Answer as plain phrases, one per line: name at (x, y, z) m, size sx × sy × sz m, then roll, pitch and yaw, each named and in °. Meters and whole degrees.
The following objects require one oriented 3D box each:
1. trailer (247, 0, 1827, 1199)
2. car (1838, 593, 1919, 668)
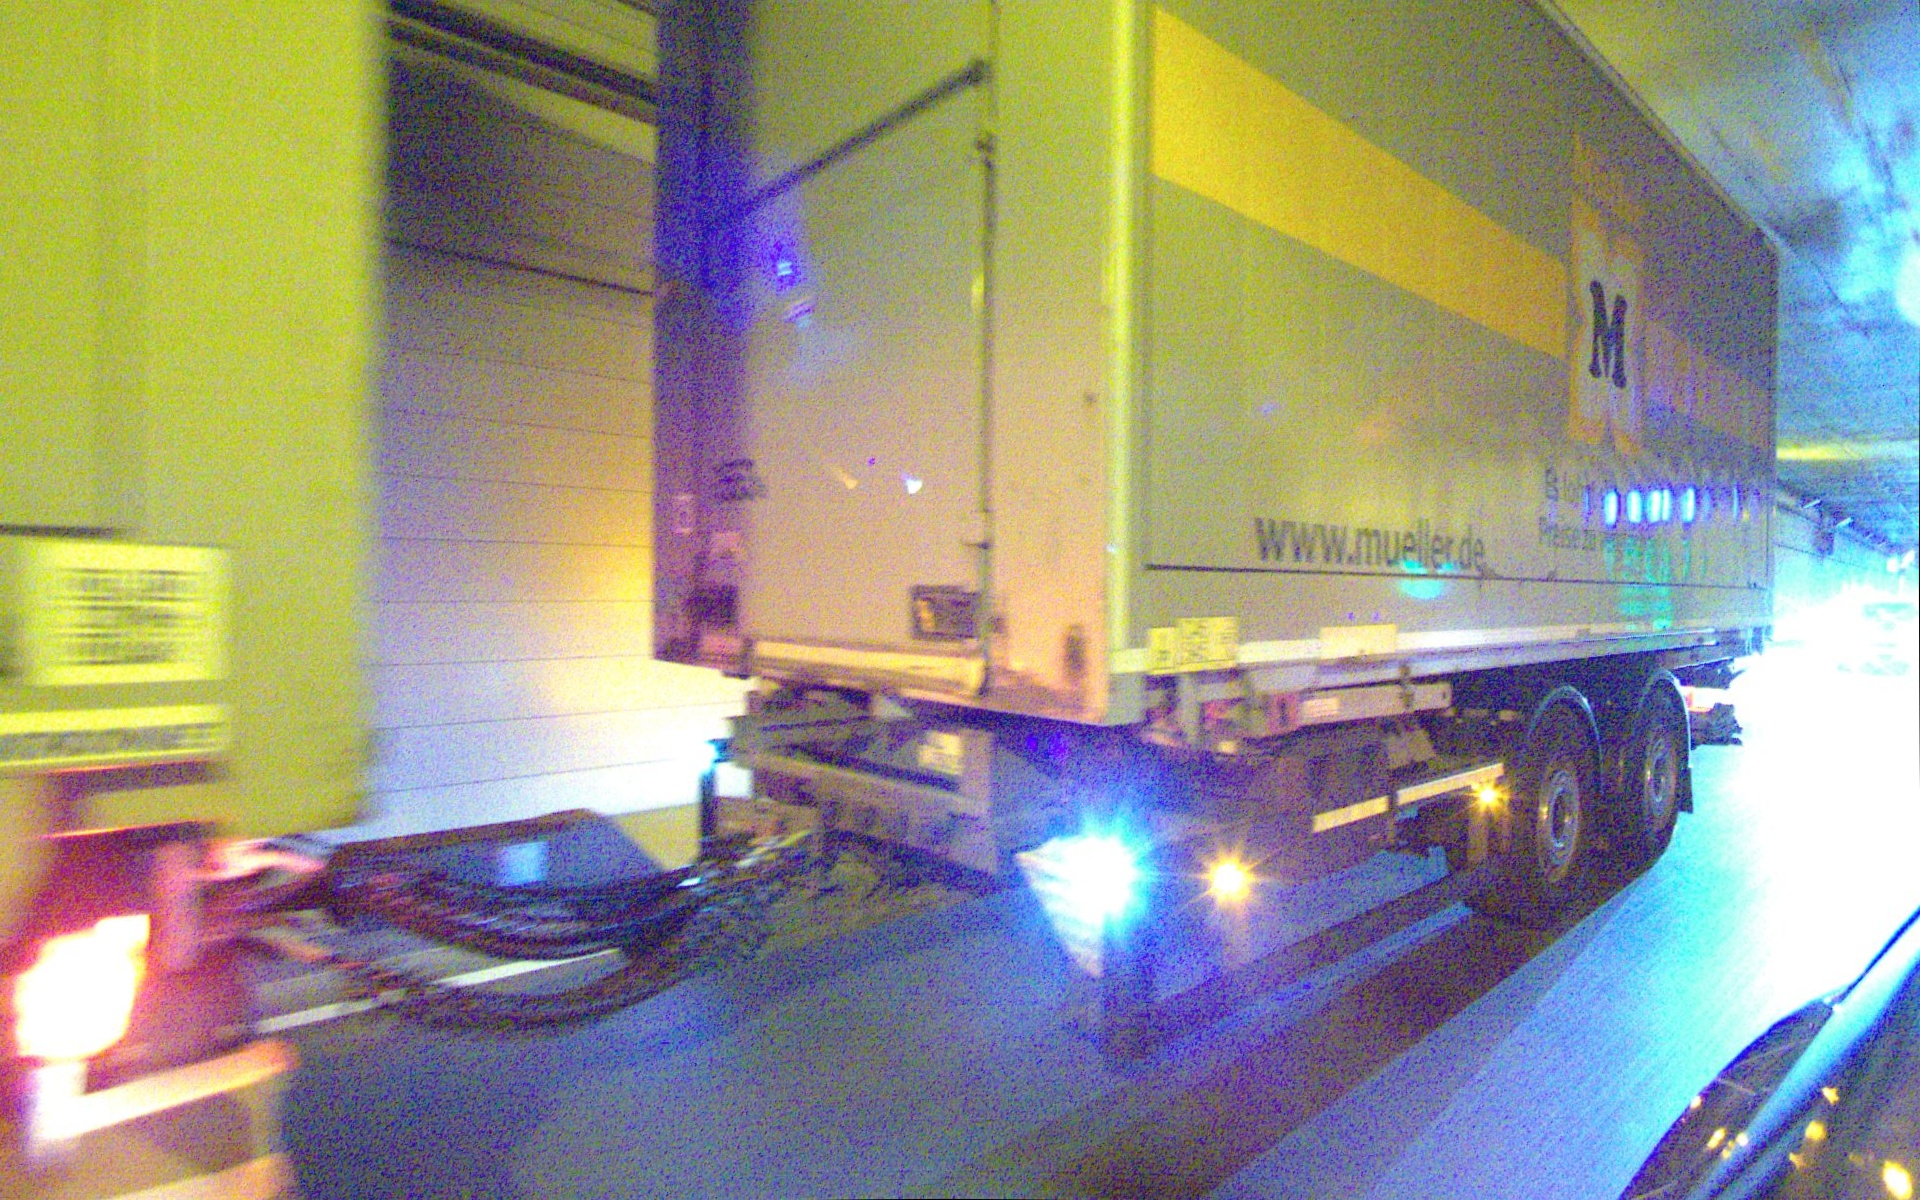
trailer at (1.774, -0.670, 5.312) m, size 8.791 × 3.906 × 2.881 m, roll 0°, pitch 2°, yaw -41°
car at (19.719, 0.577, 21.037) m, size 3.733 × 1.420 × 1.733 m, roll -1°, pitch 1°, yaw -41°
